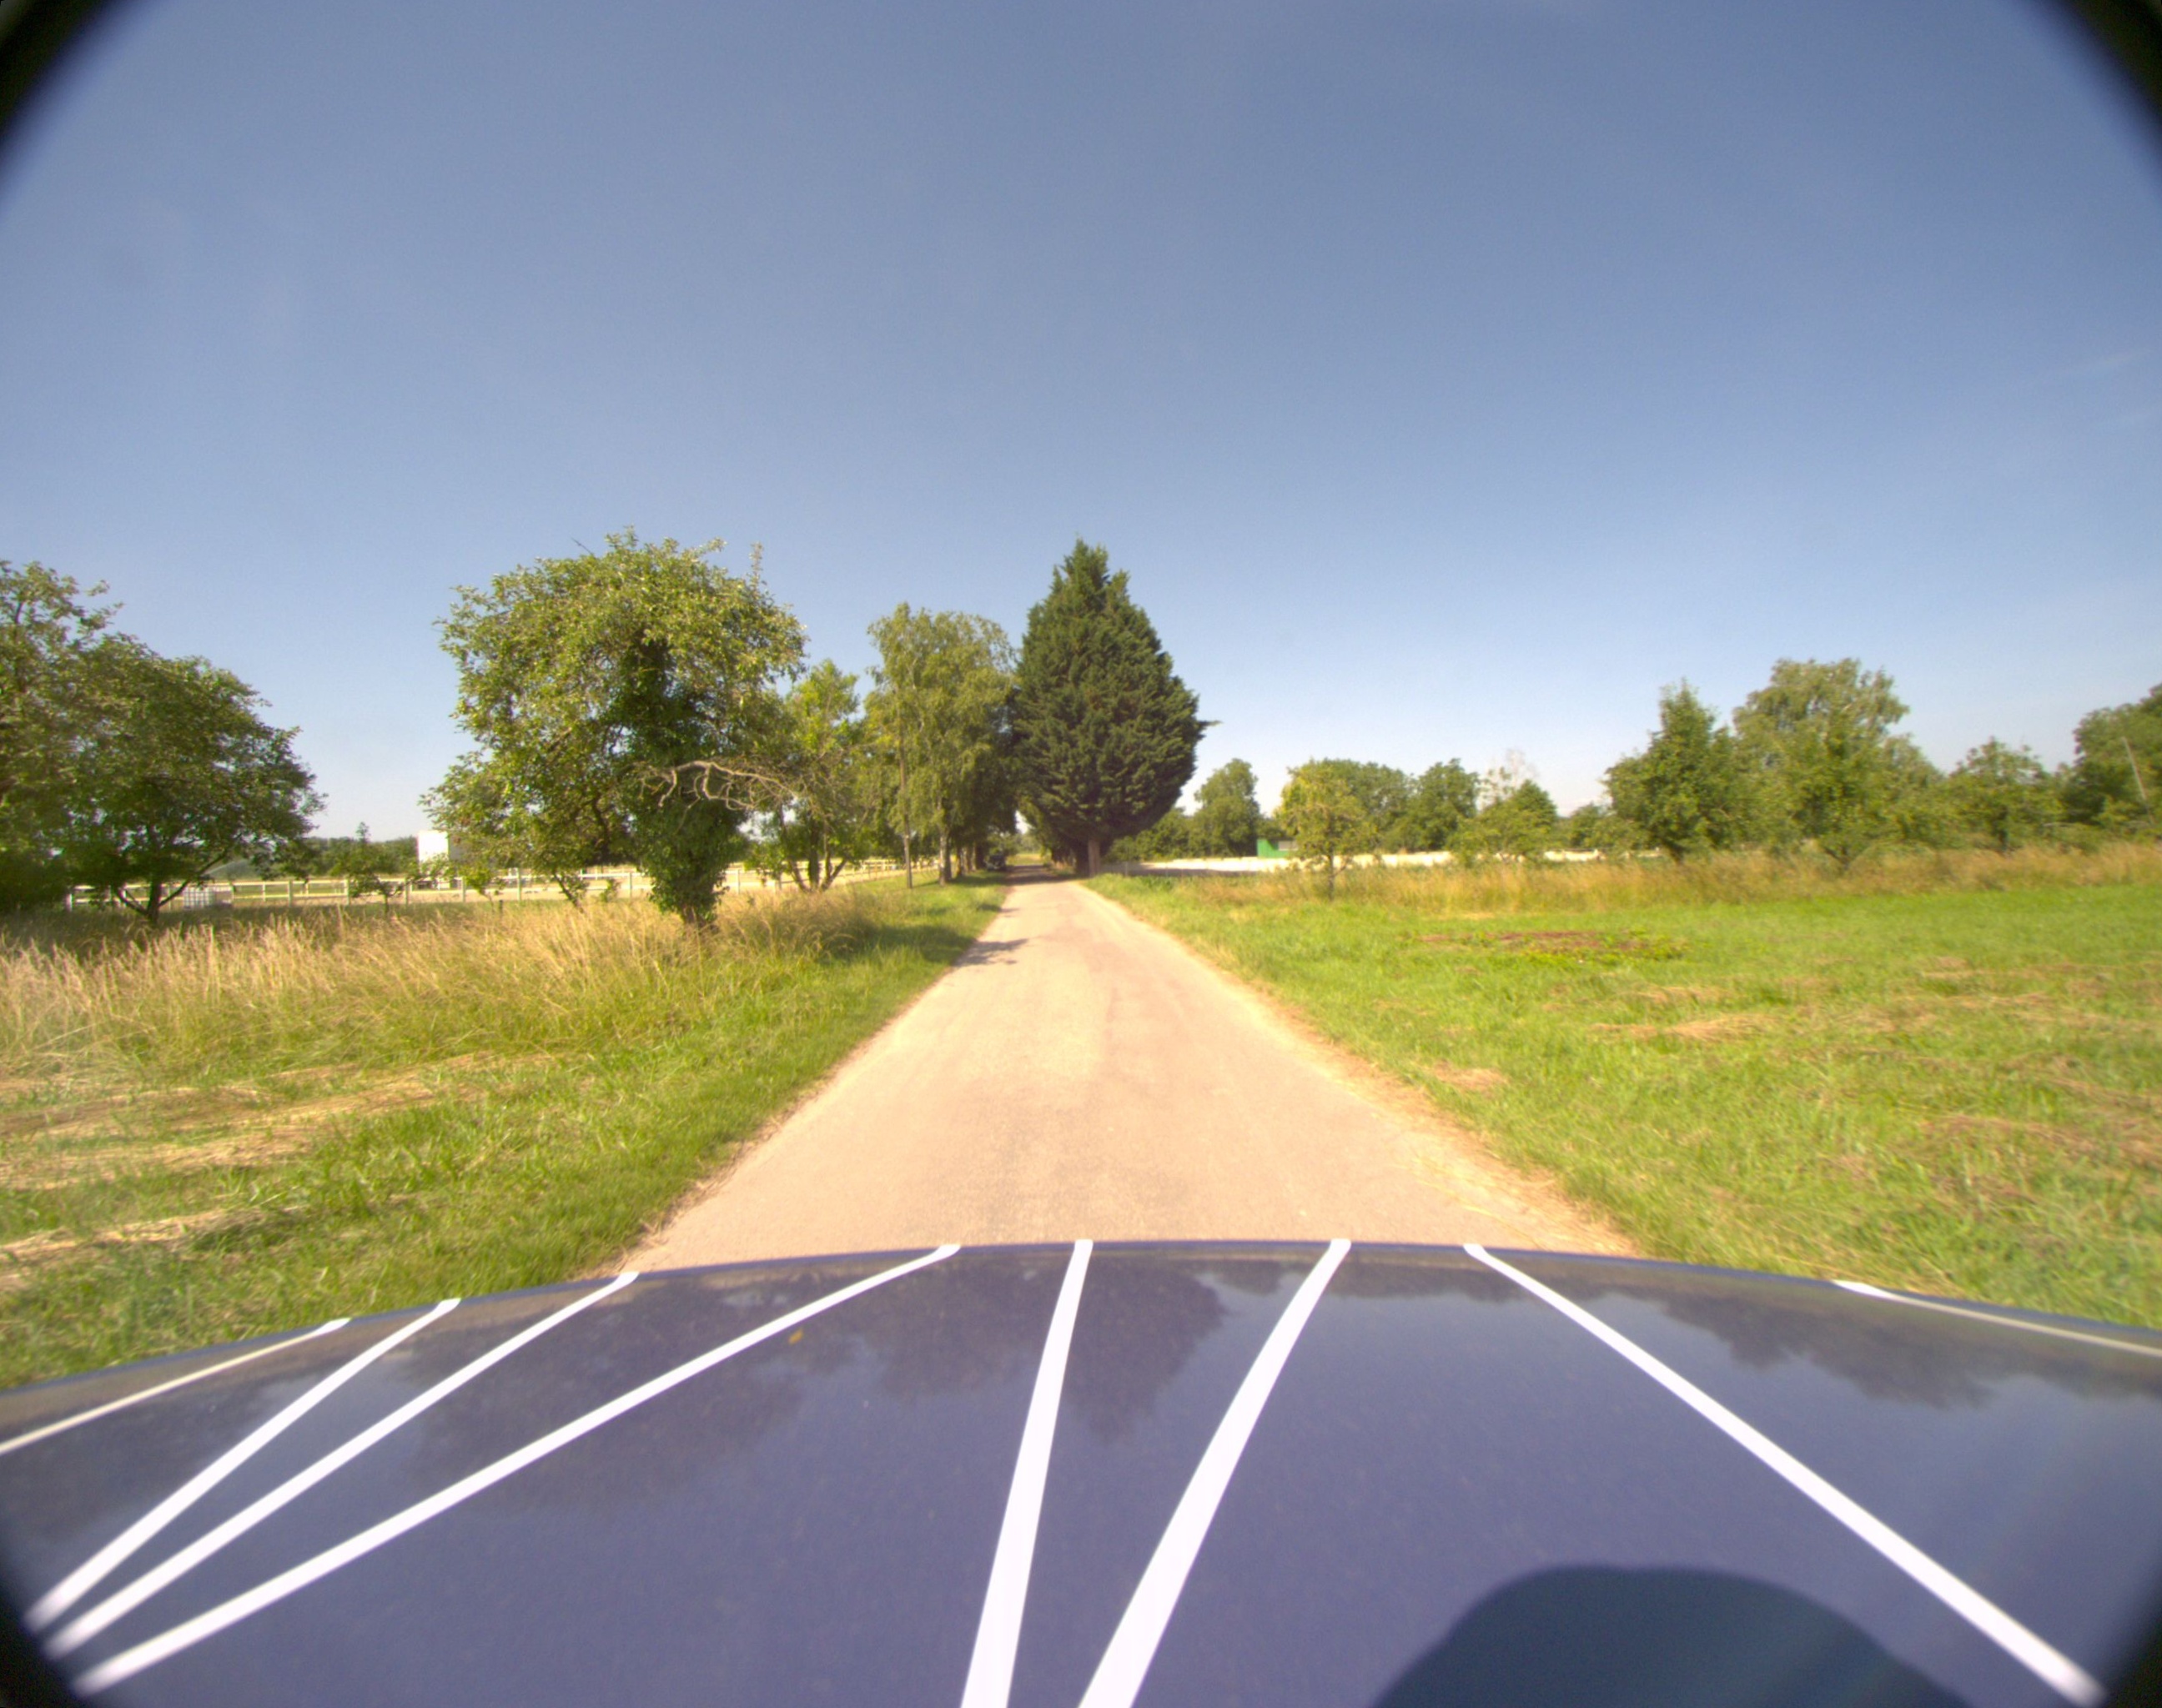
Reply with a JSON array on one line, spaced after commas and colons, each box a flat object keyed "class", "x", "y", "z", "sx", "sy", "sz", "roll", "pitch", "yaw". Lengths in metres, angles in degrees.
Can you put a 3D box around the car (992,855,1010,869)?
[{"class": "car", "x": -7.871, "y": 0.749, "z": 74.892, "sx": 1.722, "sy": 1.312, "sz": 3.741, "roll": -2, "pitch": 0, "yaw": -6}]
